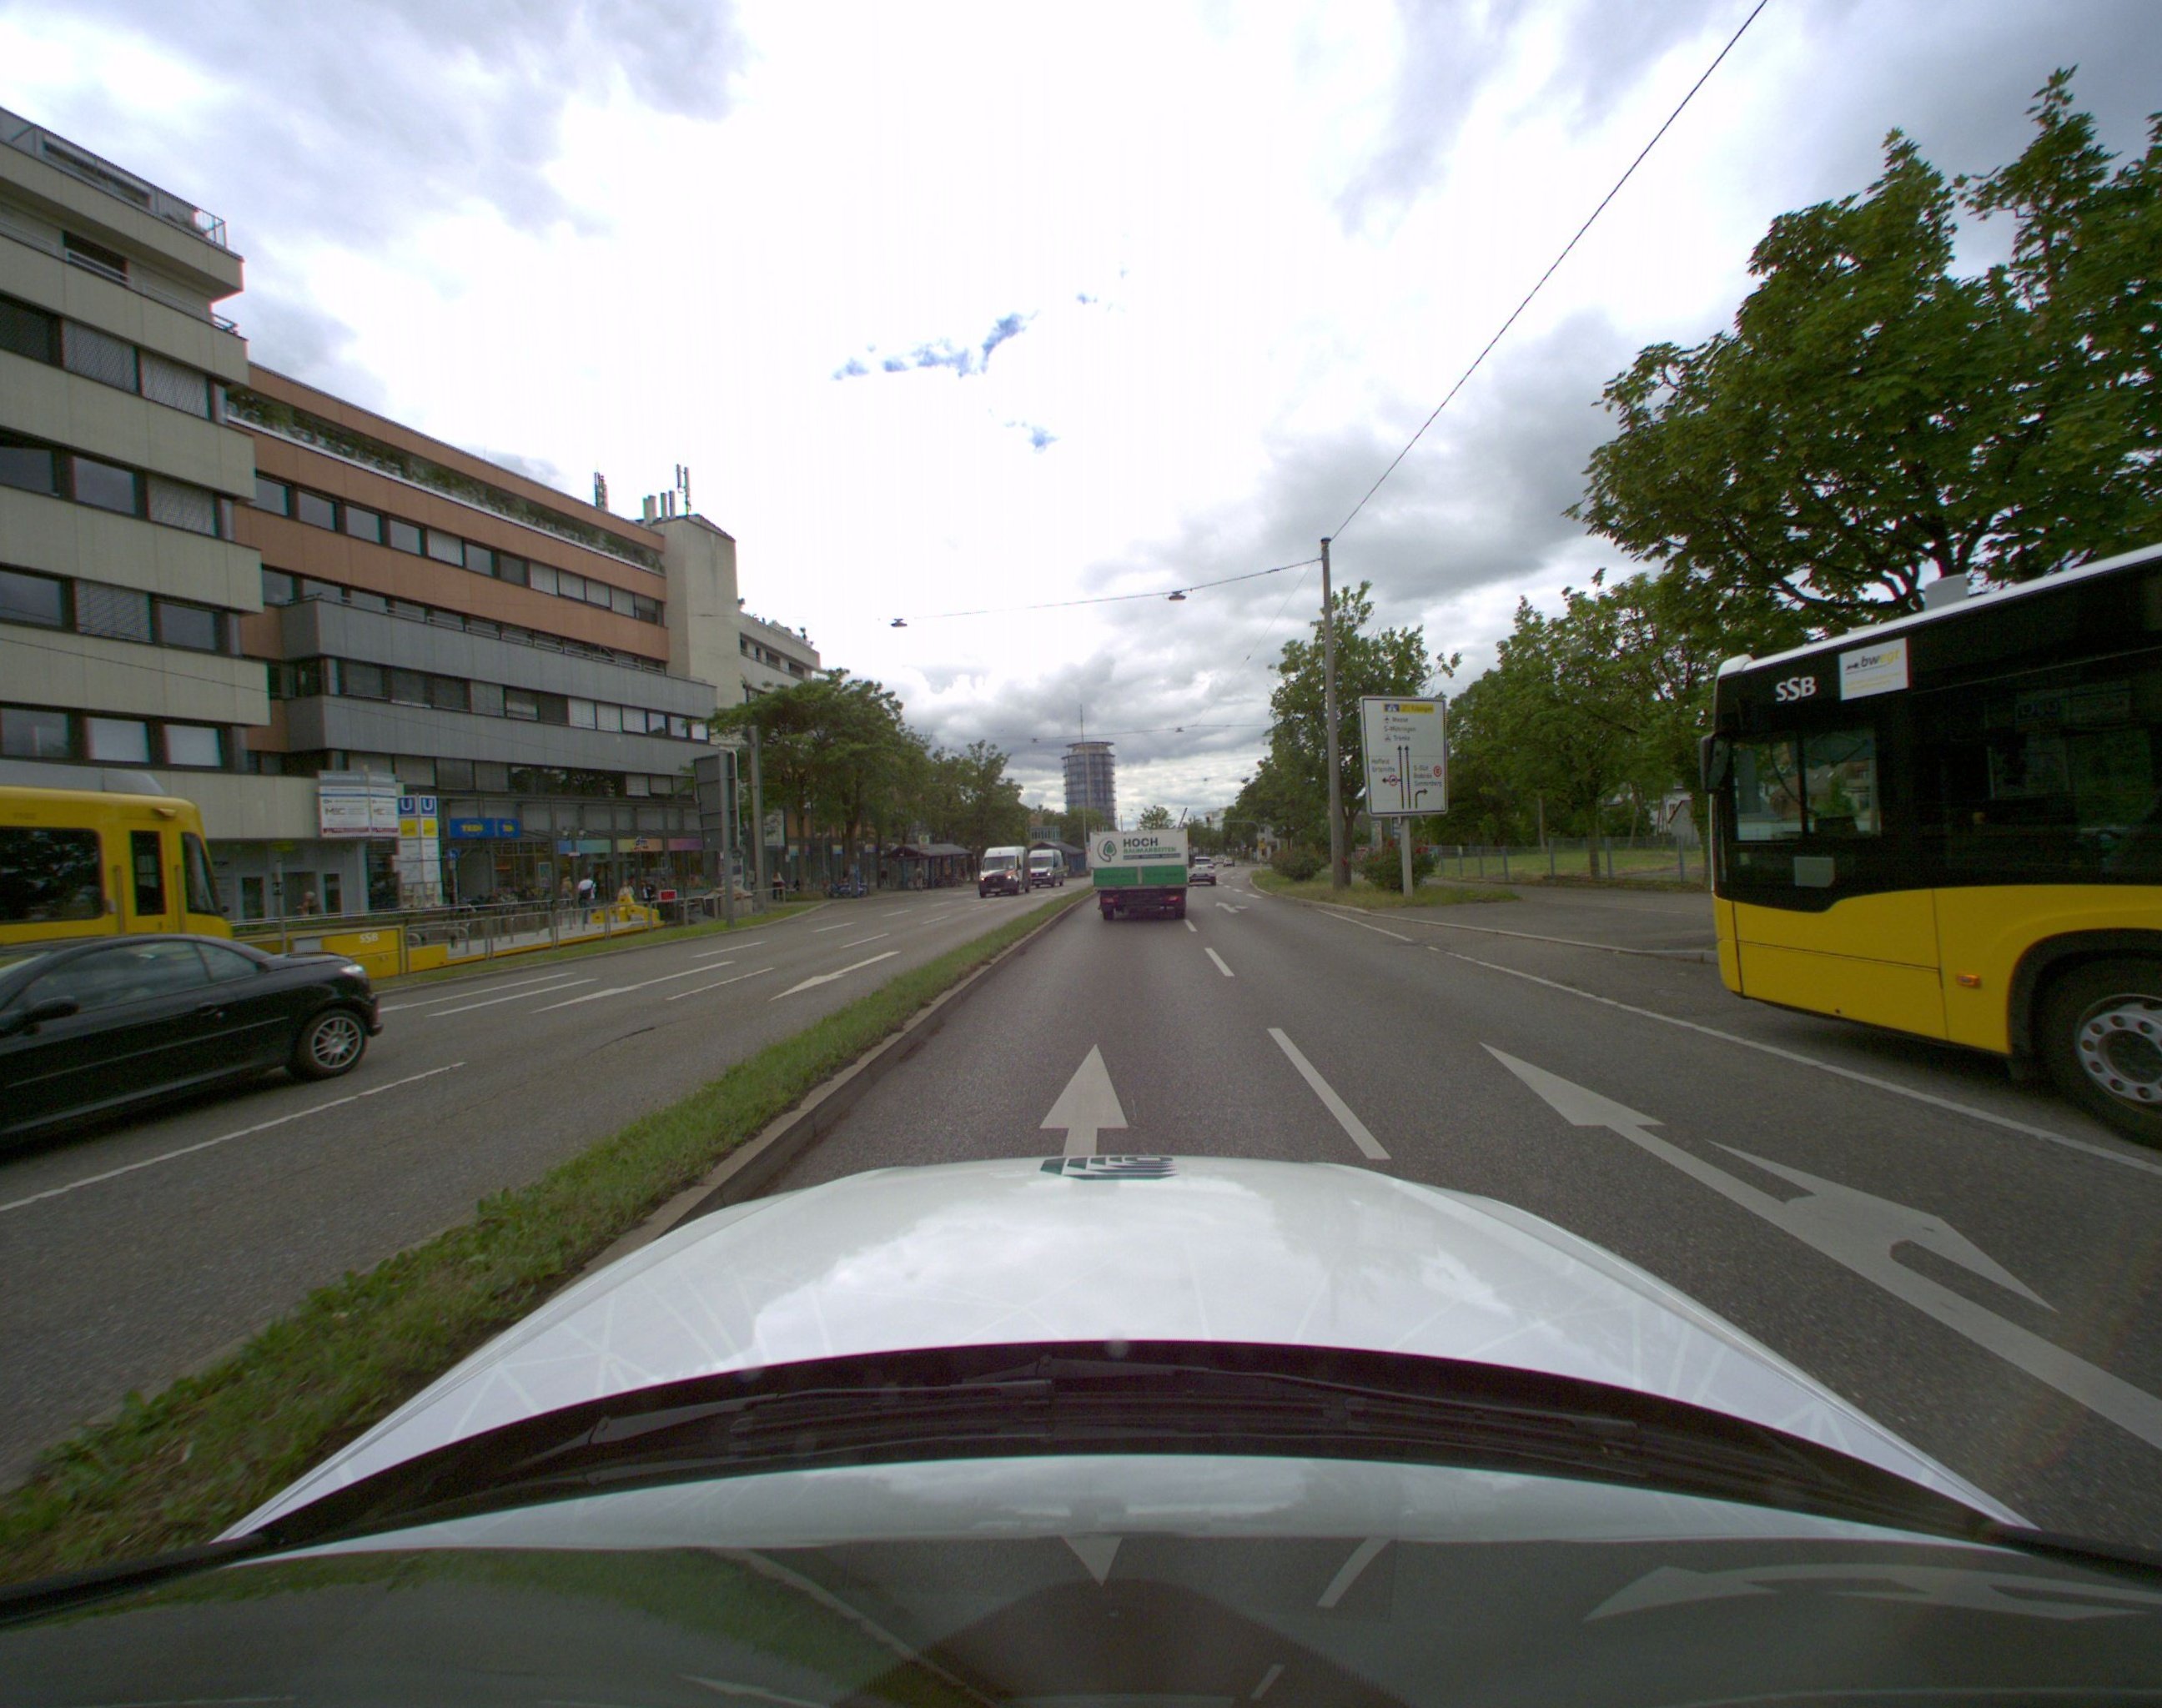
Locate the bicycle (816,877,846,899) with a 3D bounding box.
[{"bbox_3d":[-14.163,1.912,46.112,0.598,1.161,1.973,-3,0,16],"label":"bicycle"}]

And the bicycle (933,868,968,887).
[{"bbox_3d":[-11.536,2.102,71.969,2.886,1.506,0.599,-3,-1,3],"label":"bicycle"}]

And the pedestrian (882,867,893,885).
[{"bbox_3d":[-18.097,2.052,76.031,0.766,1.716,0.823,-1,-1,7],"label":"pedestrian"}]

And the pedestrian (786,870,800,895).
[{"bbox_3d":[-18.784,1.876,53.121,0.628,1.600,0.624,-1,-1,8],"label":"pedestrian"}]

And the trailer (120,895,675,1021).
[{"bbox_3d":[-14.141,1.997,19.313,2.831,1.333,12.125,-3,0,0],"label":"trailer"}]

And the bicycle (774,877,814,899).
[{"bbox_3d":[-16.656,1.983,47.308,2.029,1.161,0.666,-3,0,-39],"label":"bicycle"}]

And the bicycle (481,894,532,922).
[{"bbox_3d":[-26.521,2.490,37.590,1.998,1.161,0.676,-3,0,12],"label":"bicycle"}]

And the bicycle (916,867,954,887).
[{"bbox_3d":[-11.992,1.897,66.958,2.886,1.506,0.892,-3,-1,3],"label":"bicycle"}]

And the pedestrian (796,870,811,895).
[{"bbox_3d":[-18.020,1.832,52.878,0.663,1.584,0.708,-1,-1,6],"label":"pedestrian"}]

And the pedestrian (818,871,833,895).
[{"bbox_3d":[-18.832,2.121,60.017,0.767,1.716,0.790,-1,-1,3],"label":"pedestrian"}]

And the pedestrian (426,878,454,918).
[{"bbox_3d":[-27.875,1.920,35.418,0.700,1.698,0.636,-1,-1,4],"label":"pedestrian"}]

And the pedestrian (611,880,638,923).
[{"bbox_3d":[-17.378,1.782,30.988,0.596,1.573,0.621,-3,0,1],"label":"pedestrian"}]

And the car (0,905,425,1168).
[{"bbox_3d":[-6.989,1.203,5.618,1.499,1.345,3.952,-5,0,3],"label":"car"}]

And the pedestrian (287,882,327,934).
[{"bbox_3d":[-26.829,1.860,28.236,0.682,1.700,0.669,-3,-1,4],"label":"pedestrian"}]

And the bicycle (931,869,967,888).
[{"bbox_3d":[-11.515,2.098,71.125,2.886,1.506,0.701,-3,-1,3],"label":"bicycle"}]

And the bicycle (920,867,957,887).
[{"bbox_3d":[-11.904,1.886,68.004,2.885,1.506,0.813,-3,-1,5],"label":"bicycle"}]

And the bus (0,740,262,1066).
[{"bbox_3d":[-14.744,0.637,2.925,3.864,3.859,19.339,-3,0,0],"label":"bus"}]

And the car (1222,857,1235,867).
[{"bbox_3d":[23.776,1.295,131.418,1.982,1.552,4.010,-3,-1,9],"label":"car"}]

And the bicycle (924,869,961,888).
[{"bbox_3d":[-11.783,2.096,69.426,2.886,1.506,0.806,-3,-1,3],"label":"bicycle"}]

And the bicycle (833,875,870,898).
[{"bbox_3d":[-13.014,1.852,46.242,0.597,1.161,1.977,-3,0,43],"label":"bicycle"}]

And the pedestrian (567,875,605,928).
[{"bbox_3d":[-18.207,1.723,29.990,0.741,1.877,0.875,-3,-1,4],"label":"pedestrian"}]

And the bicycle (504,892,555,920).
[{"bbox_3d":[-26.332,2.470,38.943,0.667,1.161,2.027,-3,0,15],"label":"bicycle"}]

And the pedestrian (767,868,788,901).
[{"bbox_3d":[-15.860,1.584,42.555,0.771,1.713,0.708,-1,-1,6],"label":"pedestrian"}]

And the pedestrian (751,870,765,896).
[{"bbox_3d":[-20.403,1.848,51.471,0.626,1.600,0.626,-2,-1,43],"label":"pedestrian"}]

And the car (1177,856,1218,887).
[{"bbox_3d":[6.509,0.945,45.855,1.859,1.505,4.778,-3,0,4],"label":"car"}]

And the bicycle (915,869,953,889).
[{"bbox_3d":[-11.871,2.013,65.883,2.886,1.506,0.973,-1,-1,3],"label":"bicycle"}]

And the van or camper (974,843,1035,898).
[{"bbox_3d":[-4.017,0.834,43.840,1.984,2.598,6.124,-5,-1,5],"label":"van or camper"}]

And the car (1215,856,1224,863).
[{"bbox_3d":[32.290,1.348,189.640,1.982,1.552,4.010,-3,-1,9],"label":"car"}]

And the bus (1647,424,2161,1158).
[{"bbox_3d":[6.215,-0.283,2.055,2.971,3.241,9.869,0,0,2],"label":"bus"}]

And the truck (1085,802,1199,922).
[{"bbox_3d":[1.766,0.155,21.467,2.457,2.611,6.561,-2,0,7],"label":"truck"}]

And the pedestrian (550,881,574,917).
[{"bbox_3d":[-24.944,2.150,39.136,0.647,1.700,0.669,-3,-1,4],"label":"pedestrian"}]

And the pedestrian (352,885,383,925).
[{"bbox_3d":[-31.661,2.259,36.145,0.700,1.716,0.707,-1,-1,3],"label":"pedestrian"}]

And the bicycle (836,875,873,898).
[{"bbox_3d":[-12.635,1.811,45.453,0.597,1.161,1.977,-1,0,44],"label":"bicycle"}]

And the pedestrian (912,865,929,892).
[{"bbox_3d":[-10.908,1.683,55.334,0.699,1.822,1.216,-1,-1,9],"label":"pedestrian"}]

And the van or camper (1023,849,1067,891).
[{"bbox_3d":[-2.404,1.056,55.857,2.022,2.598,6.124,-5,-1,5],"label":"van or camper"}]

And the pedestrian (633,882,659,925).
[{"bbox_3d":[-16.588,1.875,31.068,0.596,1.573,0.621,-3,0,1],"label":"pedestrian"}]

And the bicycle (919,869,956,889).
[{"bbox_3d":[-12.147,2.102,68.957,2.886,1.506,0.806,-3,-1,3],"label":"bicycle"}]

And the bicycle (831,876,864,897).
[{"bbox_3d":[-13.594,1.889,47.472,0.597,1.161,1.700,-3,0,43],"label":"bicycle"}]

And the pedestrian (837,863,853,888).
[{"bbox_3d":[-16.351,1.501,56.416,0.766,1.716,0.791,-1,-1,29],"label":"pedestrian"}]

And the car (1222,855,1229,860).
[{"bbox_3d":[43.771,1.124,247.297,1.982,1.552,4.010,-3,-1,9],"label":"car"}]
